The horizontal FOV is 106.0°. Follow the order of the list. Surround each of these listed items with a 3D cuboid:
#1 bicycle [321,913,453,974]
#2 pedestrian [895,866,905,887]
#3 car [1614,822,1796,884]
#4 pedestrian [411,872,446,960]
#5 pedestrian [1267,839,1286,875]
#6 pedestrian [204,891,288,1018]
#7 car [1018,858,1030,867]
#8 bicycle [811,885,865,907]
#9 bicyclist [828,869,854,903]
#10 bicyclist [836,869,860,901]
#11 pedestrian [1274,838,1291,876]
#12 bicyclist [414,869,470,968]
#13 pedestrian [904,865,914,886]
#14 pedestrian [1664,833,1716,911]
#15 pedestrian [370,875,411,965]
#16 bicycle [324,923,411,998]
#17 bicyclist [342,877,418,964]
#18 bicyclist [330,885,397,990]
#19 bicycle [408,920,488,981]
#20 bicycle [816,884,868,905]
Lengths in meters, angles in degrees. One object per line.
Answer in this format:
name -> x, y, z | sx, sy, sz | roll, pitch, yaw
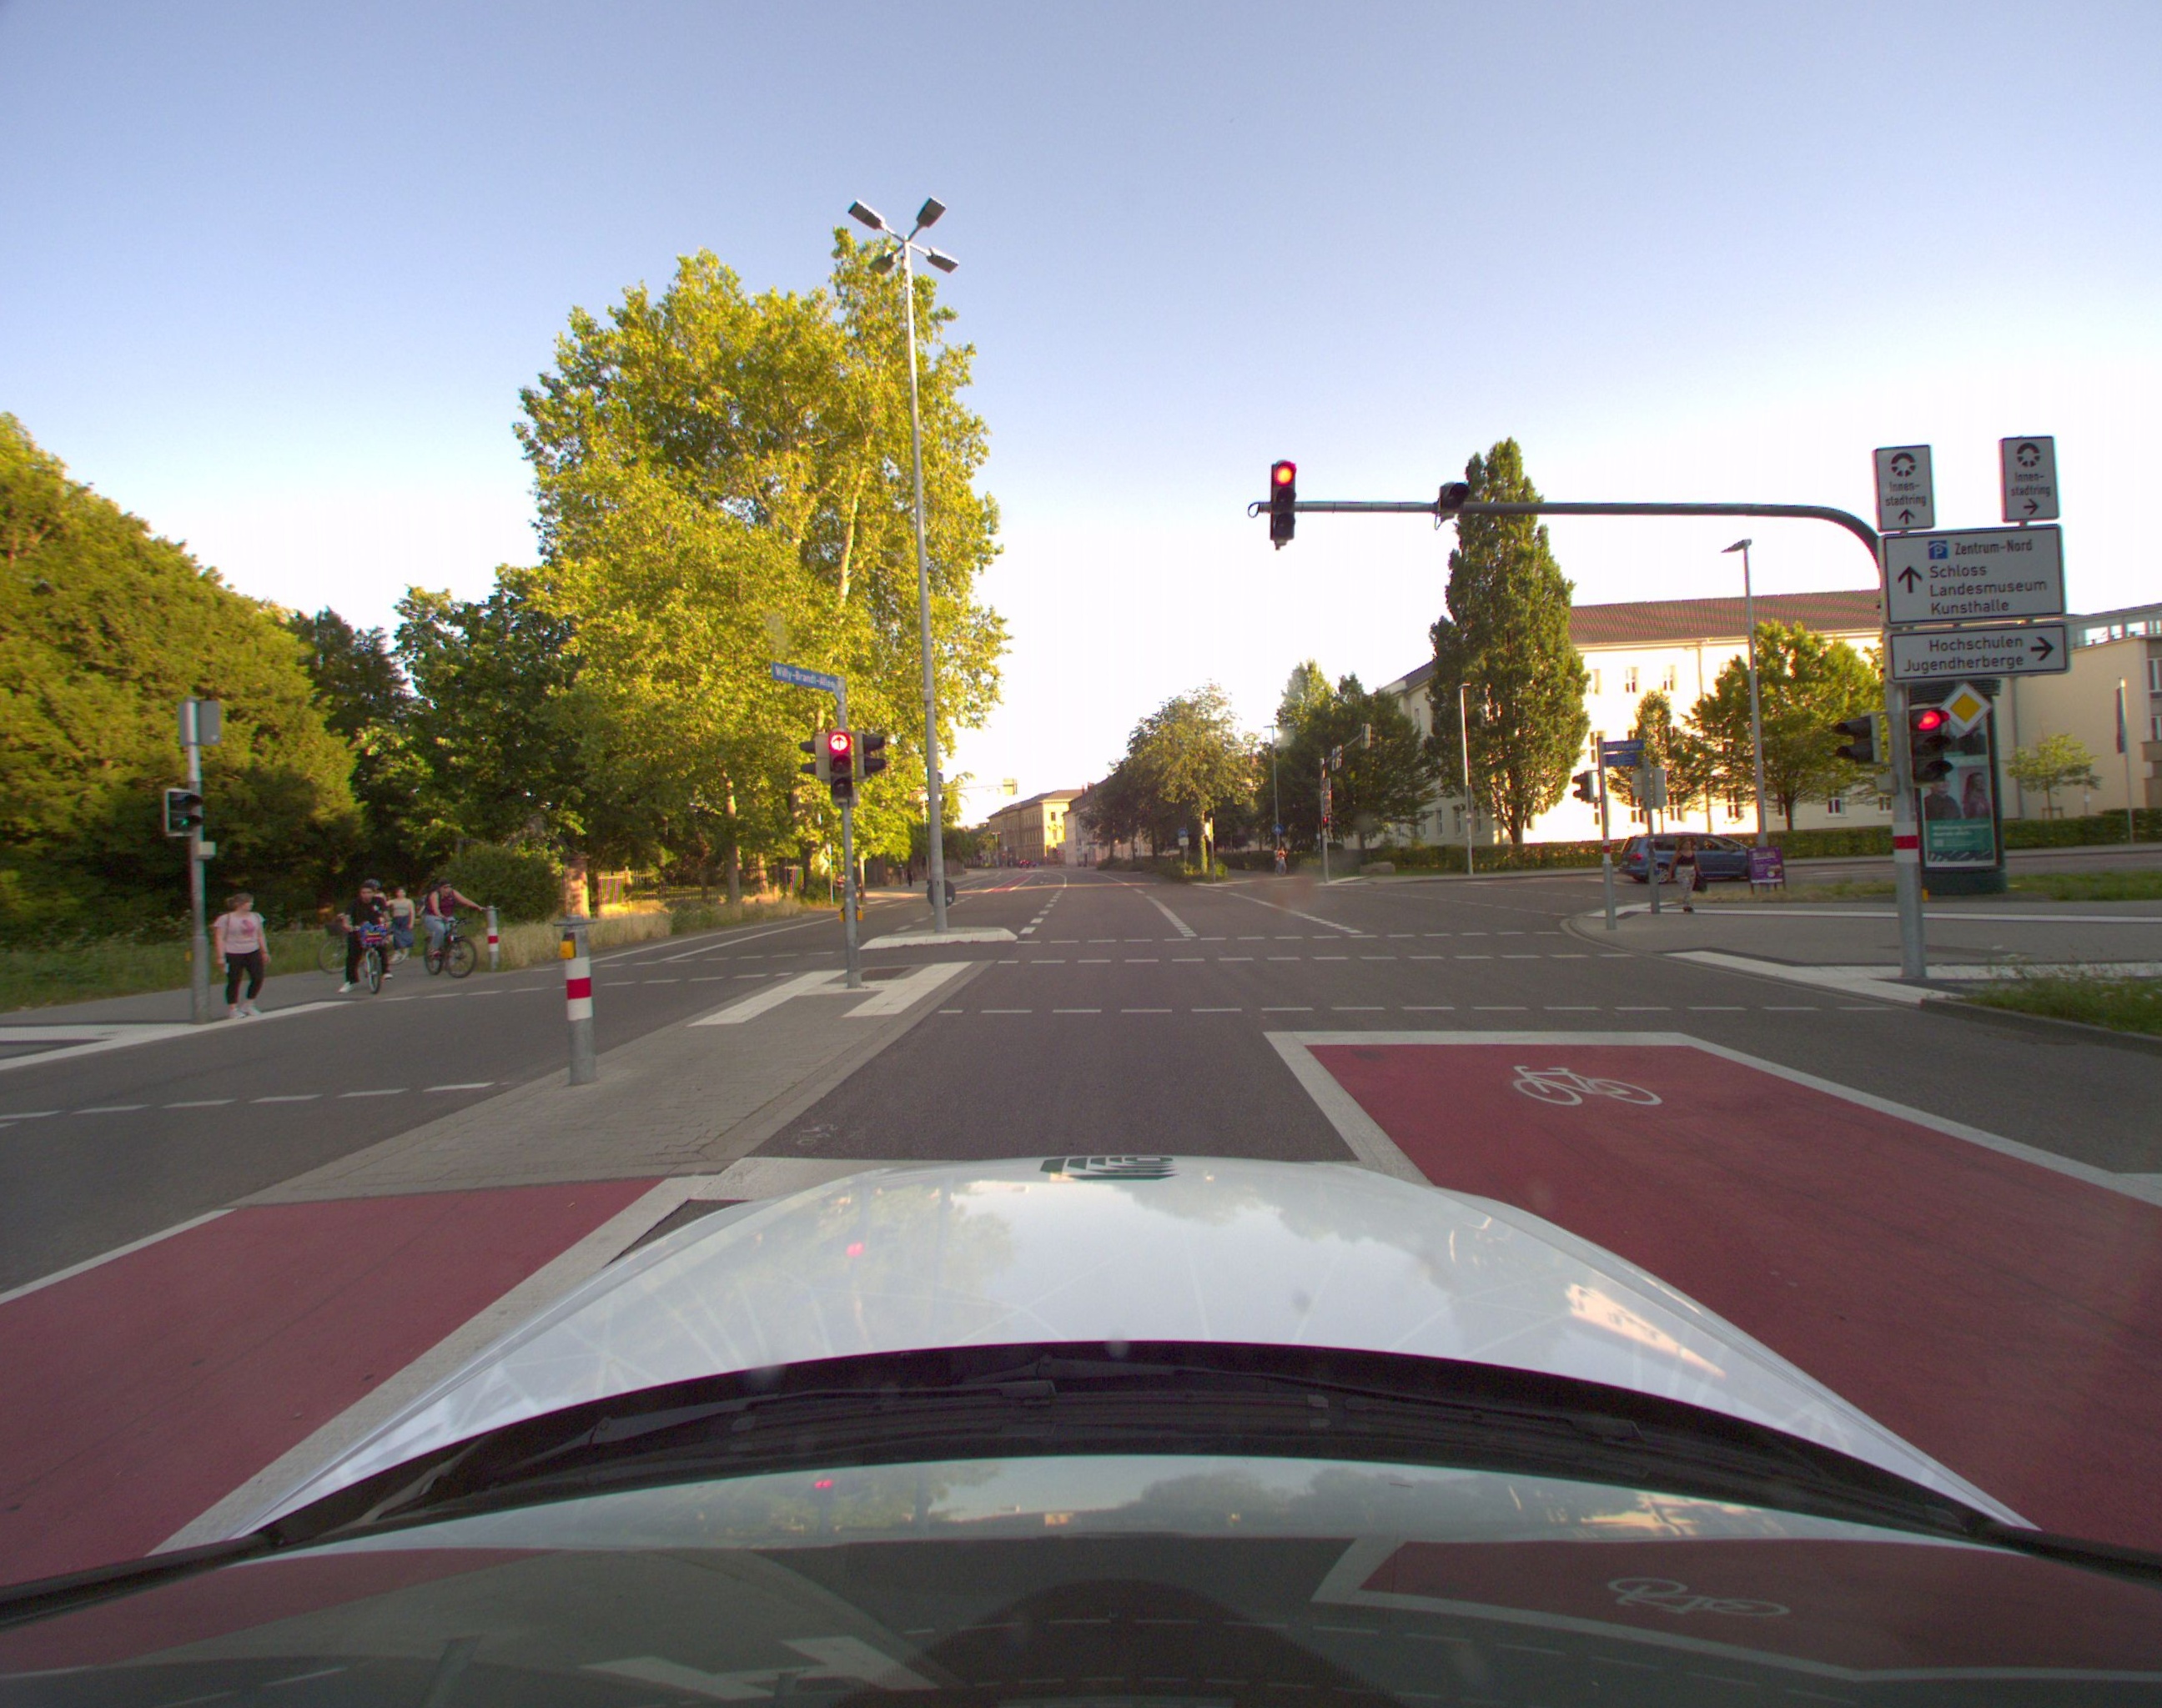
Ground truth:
bicycle -> -14.695, 1.864, 17.356 | 0.736, 1.033, 2.299 | -2, 0, 3
pedestrian -> -13.895, 1.698, 62.584 | 0.533, 1.596, 0.591 | -3, 0, 1
car -> 19.987, -0.044, 26.274 | 4.250, 1.720, 1.863 | -3, 2, 15
pedestrian -> -15.390, 1.438, 19.209 | 0.598, 2.014, 0.634 | -1, -1, -38
pedestrian -> 10.881, 0.169, 45.413 | 0.867, 2.014, 0.722 | -2, -1, 1
pedestrian -> -11.740, 1.400, 11.460 | 0.604, 1.695, 0.499 | -3, 0, 3
car -> -11.948, 1.761, 170.249 | 1.821, 1.588, 3.983 | -4, 0, -12
bicycle -> -12.127, 2.090, 40.721 | 2.420, 0.924, 0.775 | -3, 0, 2
bicyclist -> -11.988, 1.595, 40.708 | 0.954, 1.631, 0.753 | -3, 0, 2
bicyclist -> -12.126, 1.606, 42.410 | 0.954, 1.631, 0.753 | -3, 0, 2
pedestrian -> 10.874, 0.177, 43.931 | 0.633, 2.014, 0.720 | -2, -1, -2
bicyclist -> -11.930, 1.182, 15.208 | 0.631, 1.780, 0.580 | -3, -1, 32
pedestrian -> -13.226, 1.684, 62.586 | 0.597, 1.573, 0.646 | -3, 0, 1
pedestrian -> 13.104, 0.370, 17.545 | 0.597, 1.636, 0.692 | -2, 0, 5
pedestrian -> -16.007, 1.497, 18.895 | 0.654, 2.014, 0.599 | -1, -1, -37
bicycle -> -11.788, 1.729, 13.444 | 1.548, 1.111, 0.637 | -3, -1, 32
bicyclist -> -14.755, 1.378, 17.166 | 0.752, 1.728, 0.944 | -2, -1, 0
bicyclist -> -11.902, 1.367, 13.510 | 0.631, 1.649, 0.634 | -3, -1, 32
bicycle -> -11.758, 1.761, 15.101 | 1.749, 1.030, 0.583 | -3, -1, 32
bicycle -> -12.445, 2.112, 42.407 | 2.420, 0.924, 0.775 | -3, 0, 2
